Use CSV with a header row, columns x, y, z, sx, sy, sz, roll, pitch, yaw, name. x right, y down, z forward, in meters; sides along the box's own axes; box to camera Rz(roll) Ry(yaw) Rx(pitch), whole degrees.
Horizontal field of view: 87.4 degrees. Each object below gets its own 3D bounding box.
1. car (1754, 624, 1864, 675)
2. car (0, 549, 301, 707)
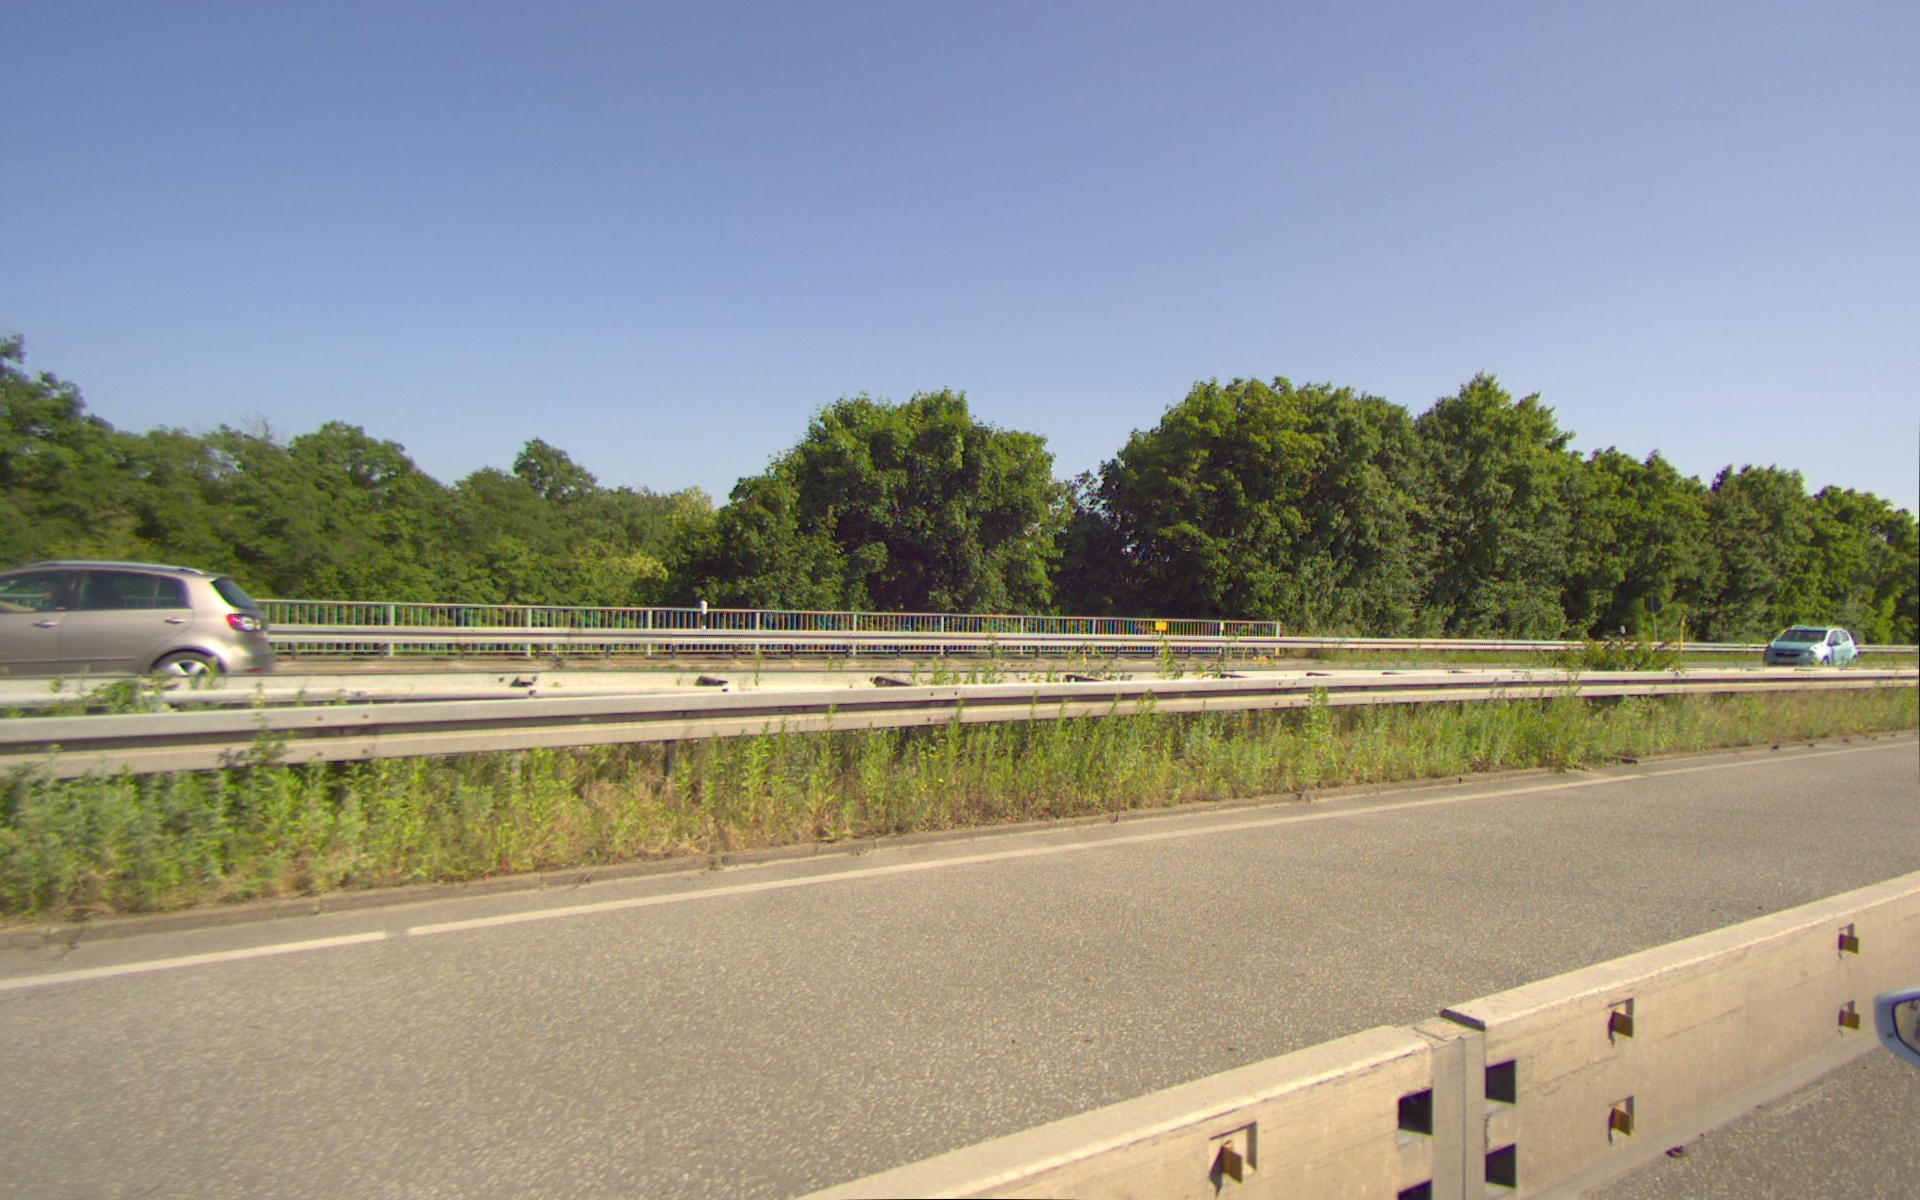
x,y,z,sx,sy,sz,roll,pitch,yaw,name
28.253,1.623,33.392,3.774,1.551,1.638,2,0,-31,car
-9.981,0.304,11.103,4.371,1.604,1.755,2,-2,-30,car
